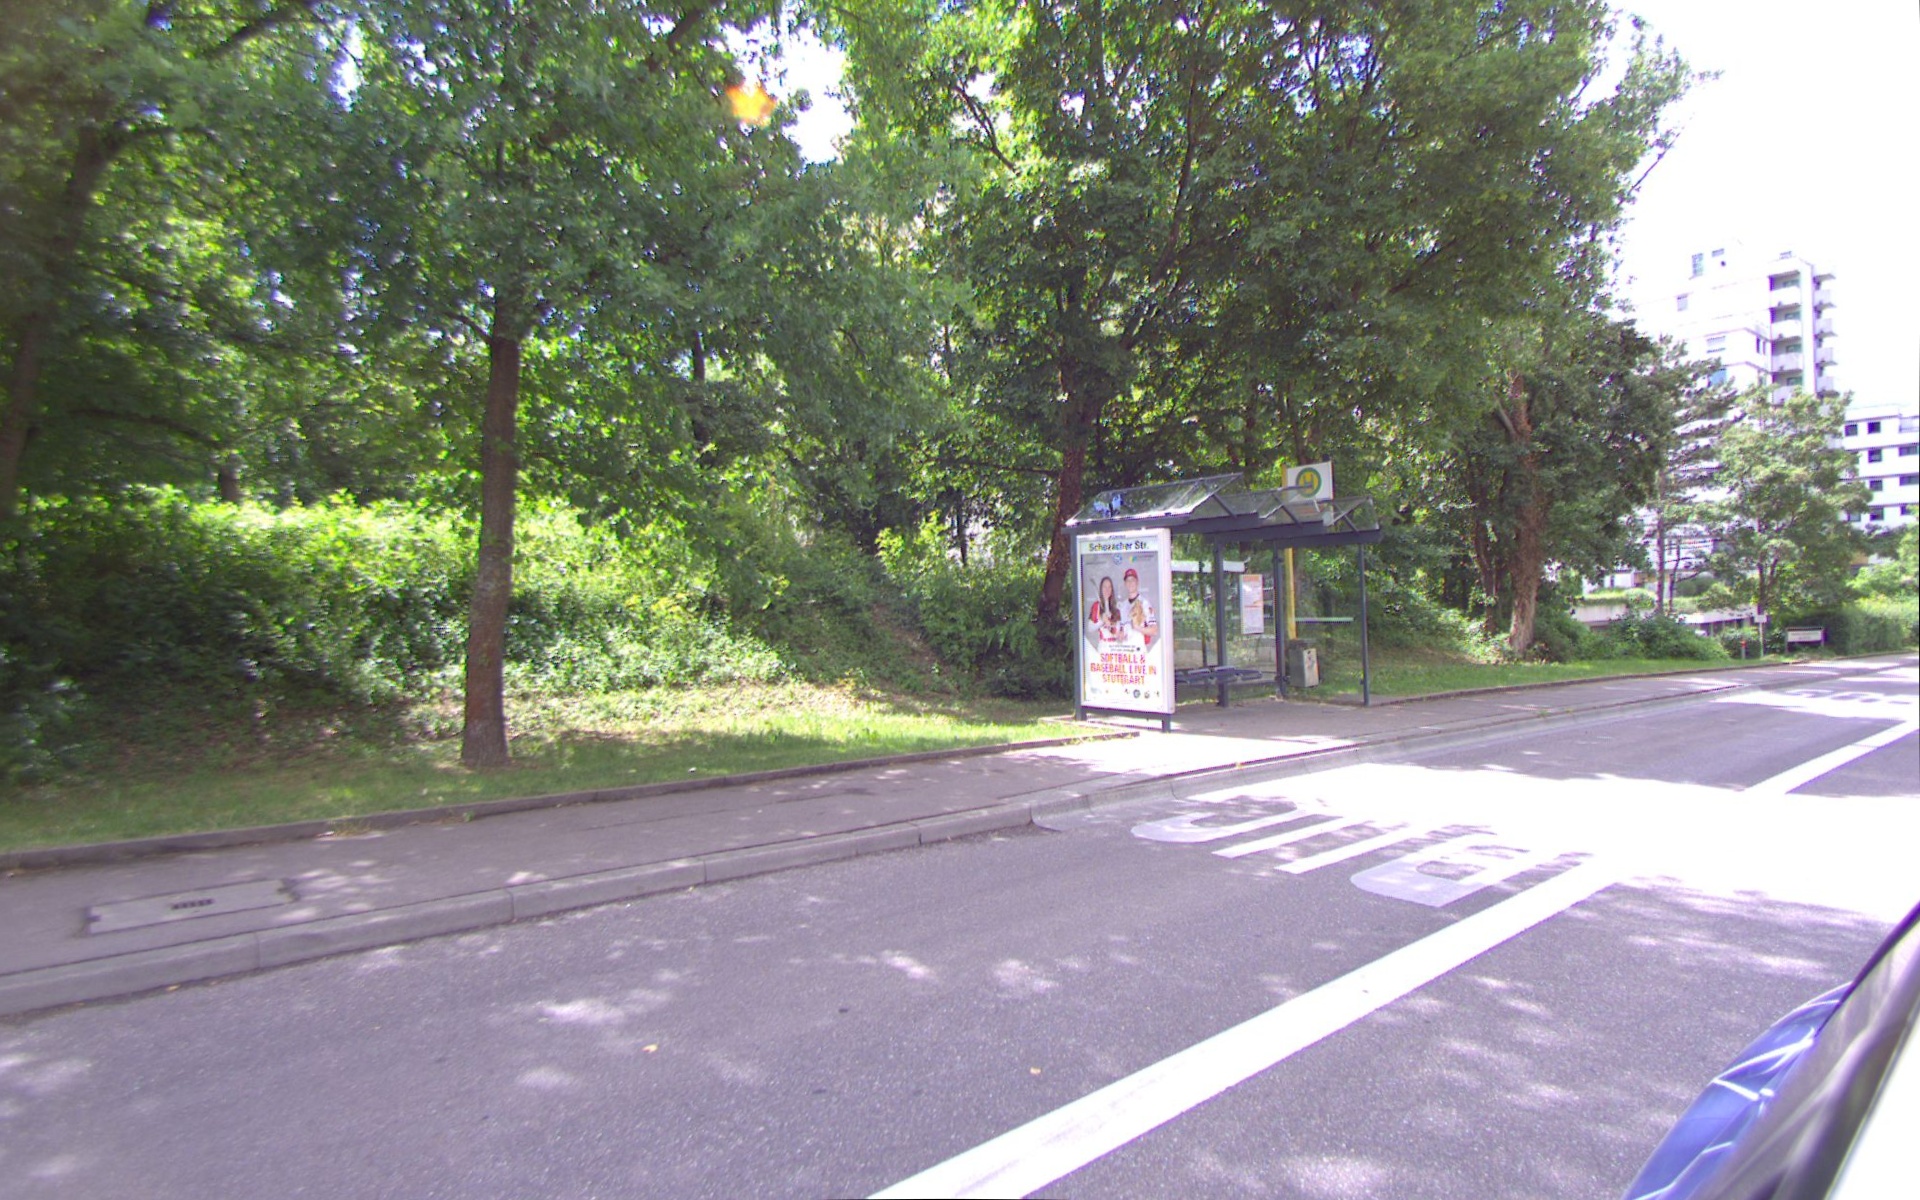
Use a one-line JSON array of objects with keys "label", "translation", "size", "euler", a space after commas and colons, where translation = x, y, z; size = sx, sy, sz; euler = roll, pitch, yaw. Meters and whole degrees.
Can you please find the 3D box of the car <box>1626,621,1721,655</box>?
[{"label": "car", "translation": [45.581, 2.398, 64.729], "size": [1.961, 2.039, 4.550], "euler": [1, -1, -33]}]
